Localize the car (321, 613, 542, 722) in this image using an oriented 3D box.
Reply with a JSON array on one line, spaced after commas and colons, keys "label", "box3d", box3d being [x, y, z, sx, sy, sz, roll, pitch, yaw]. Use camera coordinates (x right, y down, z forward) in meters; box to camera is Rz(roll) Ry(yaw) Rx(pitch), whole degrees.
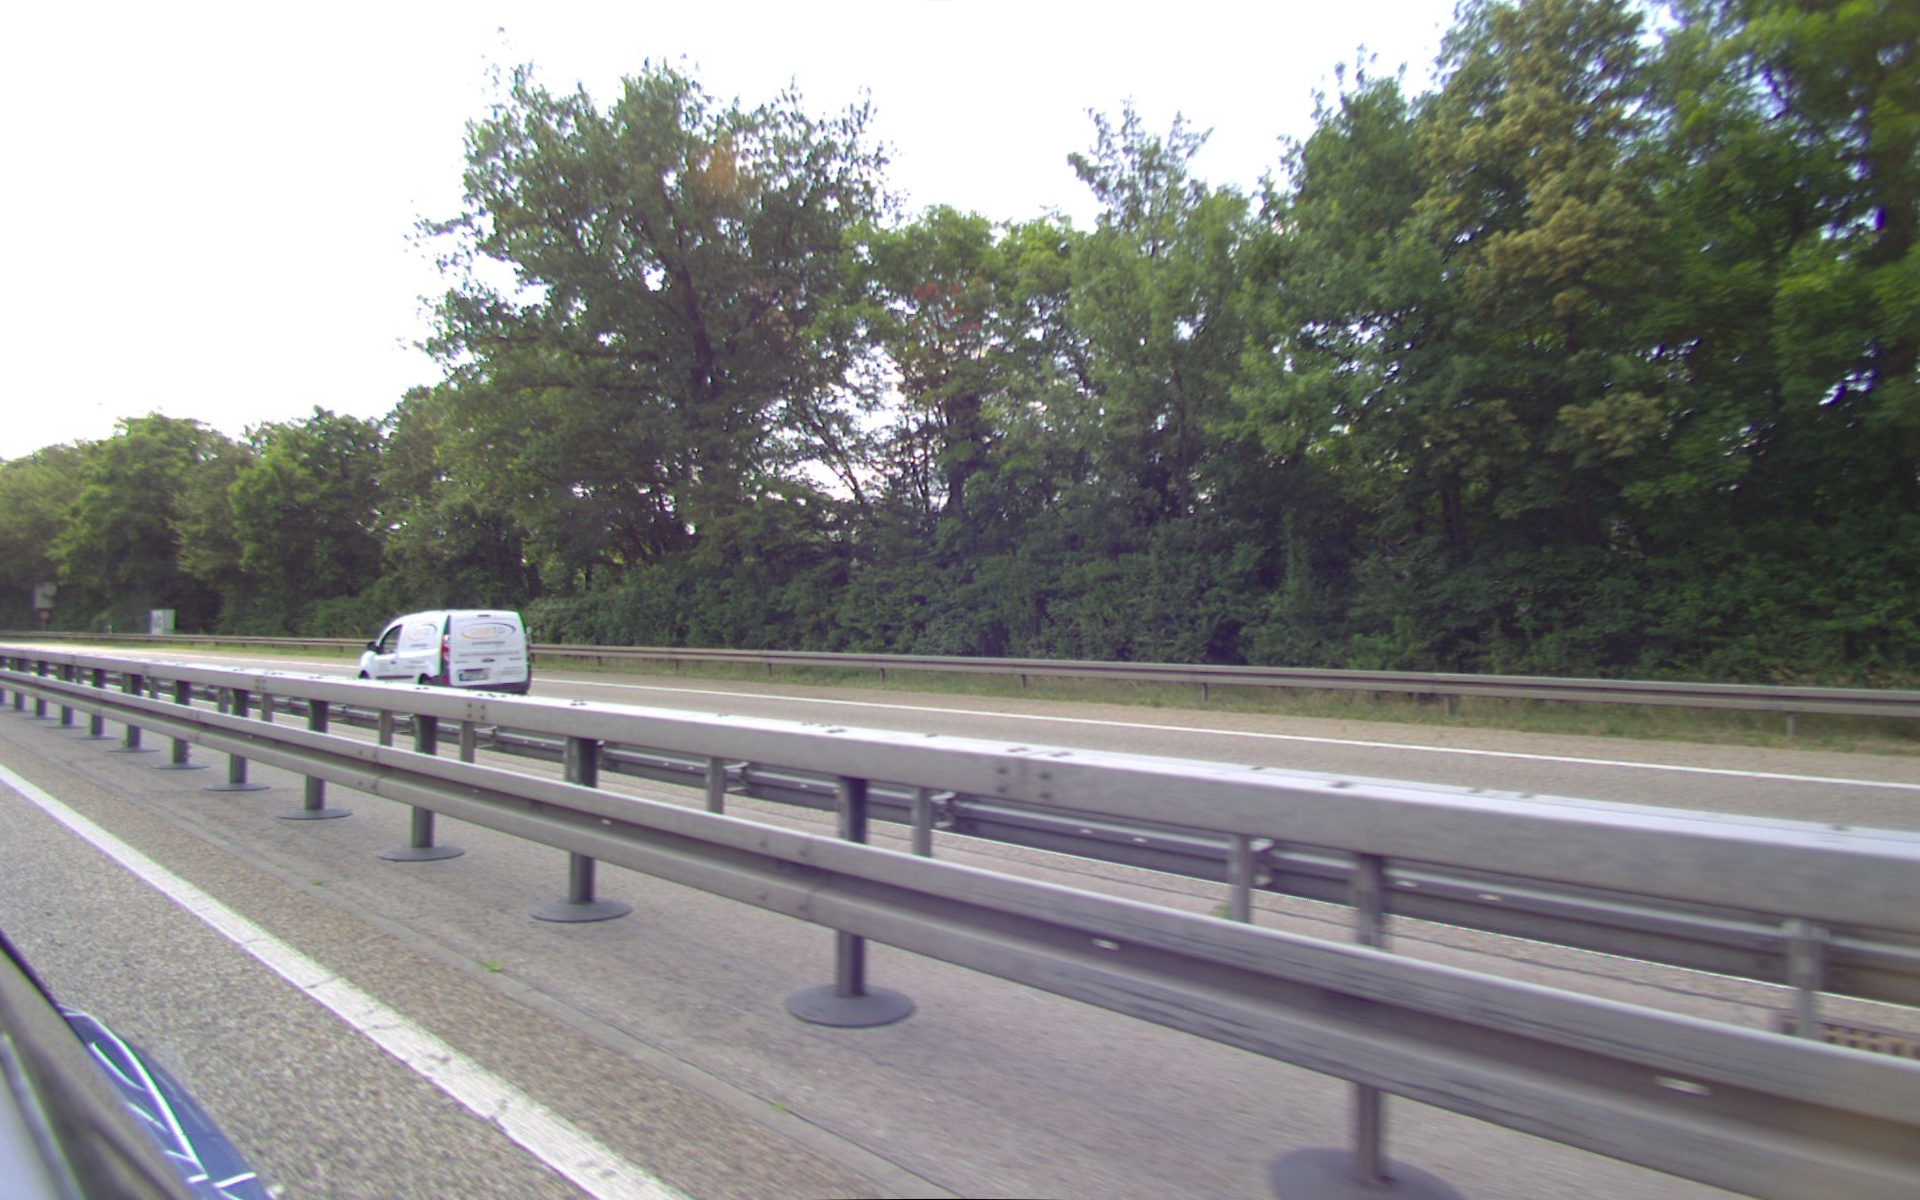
[{"label": "car", "box3d": [-10.319, 1.193, 19.540, 5.473, 1.832, 1.826, -1, -2, 40]}]
